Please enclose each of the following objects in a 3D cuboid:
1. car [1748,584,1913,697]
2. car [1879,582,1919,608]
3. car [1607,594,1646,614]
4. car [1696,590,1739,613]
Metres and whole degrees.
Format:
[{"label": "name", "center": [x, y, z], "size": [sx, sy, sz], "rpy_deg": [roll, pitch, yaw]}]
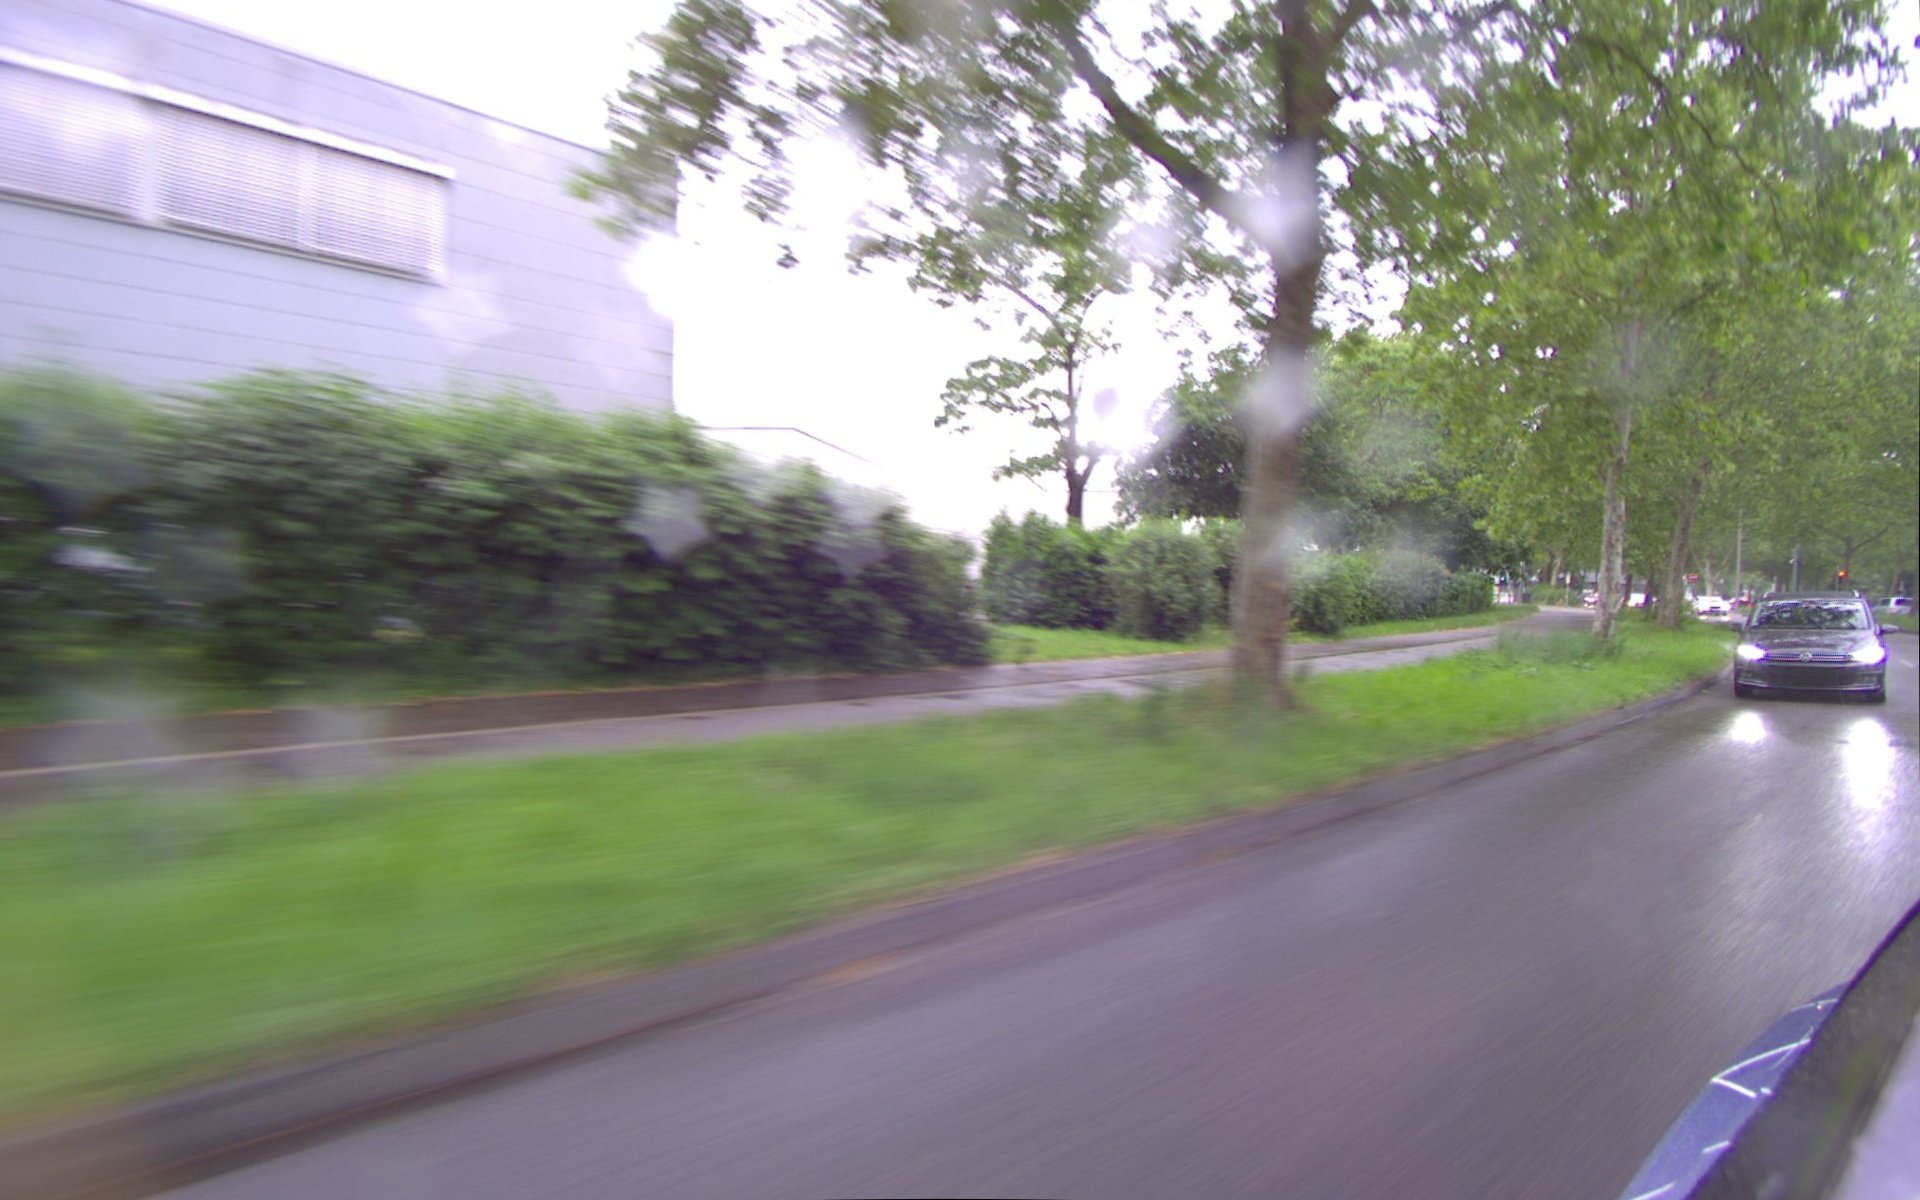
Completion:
[{"label": "car", "center": [13.759, 0.550, 16.188], "size": [1.775, 1.575, 3.945], "rpy_deg": [0, 0, 38]}, {"label": "car", "center": [74.916, -0.391, 80.164], "size": [1.924, 1.964, 5.144], "rpy_deg": [2, 1, 29]}, {"label": "car", "center": [53.403, 0.305, 81.162], "size": [1.764, 1.575, 3.971], "rpy_deg": [1, 1, 22]}, {"label": "car", "center": [54.388, 0.097, 72.718], "size": [1.768, 1.575, 3.962], "rpy_deg": [1, 1, 27]}]
